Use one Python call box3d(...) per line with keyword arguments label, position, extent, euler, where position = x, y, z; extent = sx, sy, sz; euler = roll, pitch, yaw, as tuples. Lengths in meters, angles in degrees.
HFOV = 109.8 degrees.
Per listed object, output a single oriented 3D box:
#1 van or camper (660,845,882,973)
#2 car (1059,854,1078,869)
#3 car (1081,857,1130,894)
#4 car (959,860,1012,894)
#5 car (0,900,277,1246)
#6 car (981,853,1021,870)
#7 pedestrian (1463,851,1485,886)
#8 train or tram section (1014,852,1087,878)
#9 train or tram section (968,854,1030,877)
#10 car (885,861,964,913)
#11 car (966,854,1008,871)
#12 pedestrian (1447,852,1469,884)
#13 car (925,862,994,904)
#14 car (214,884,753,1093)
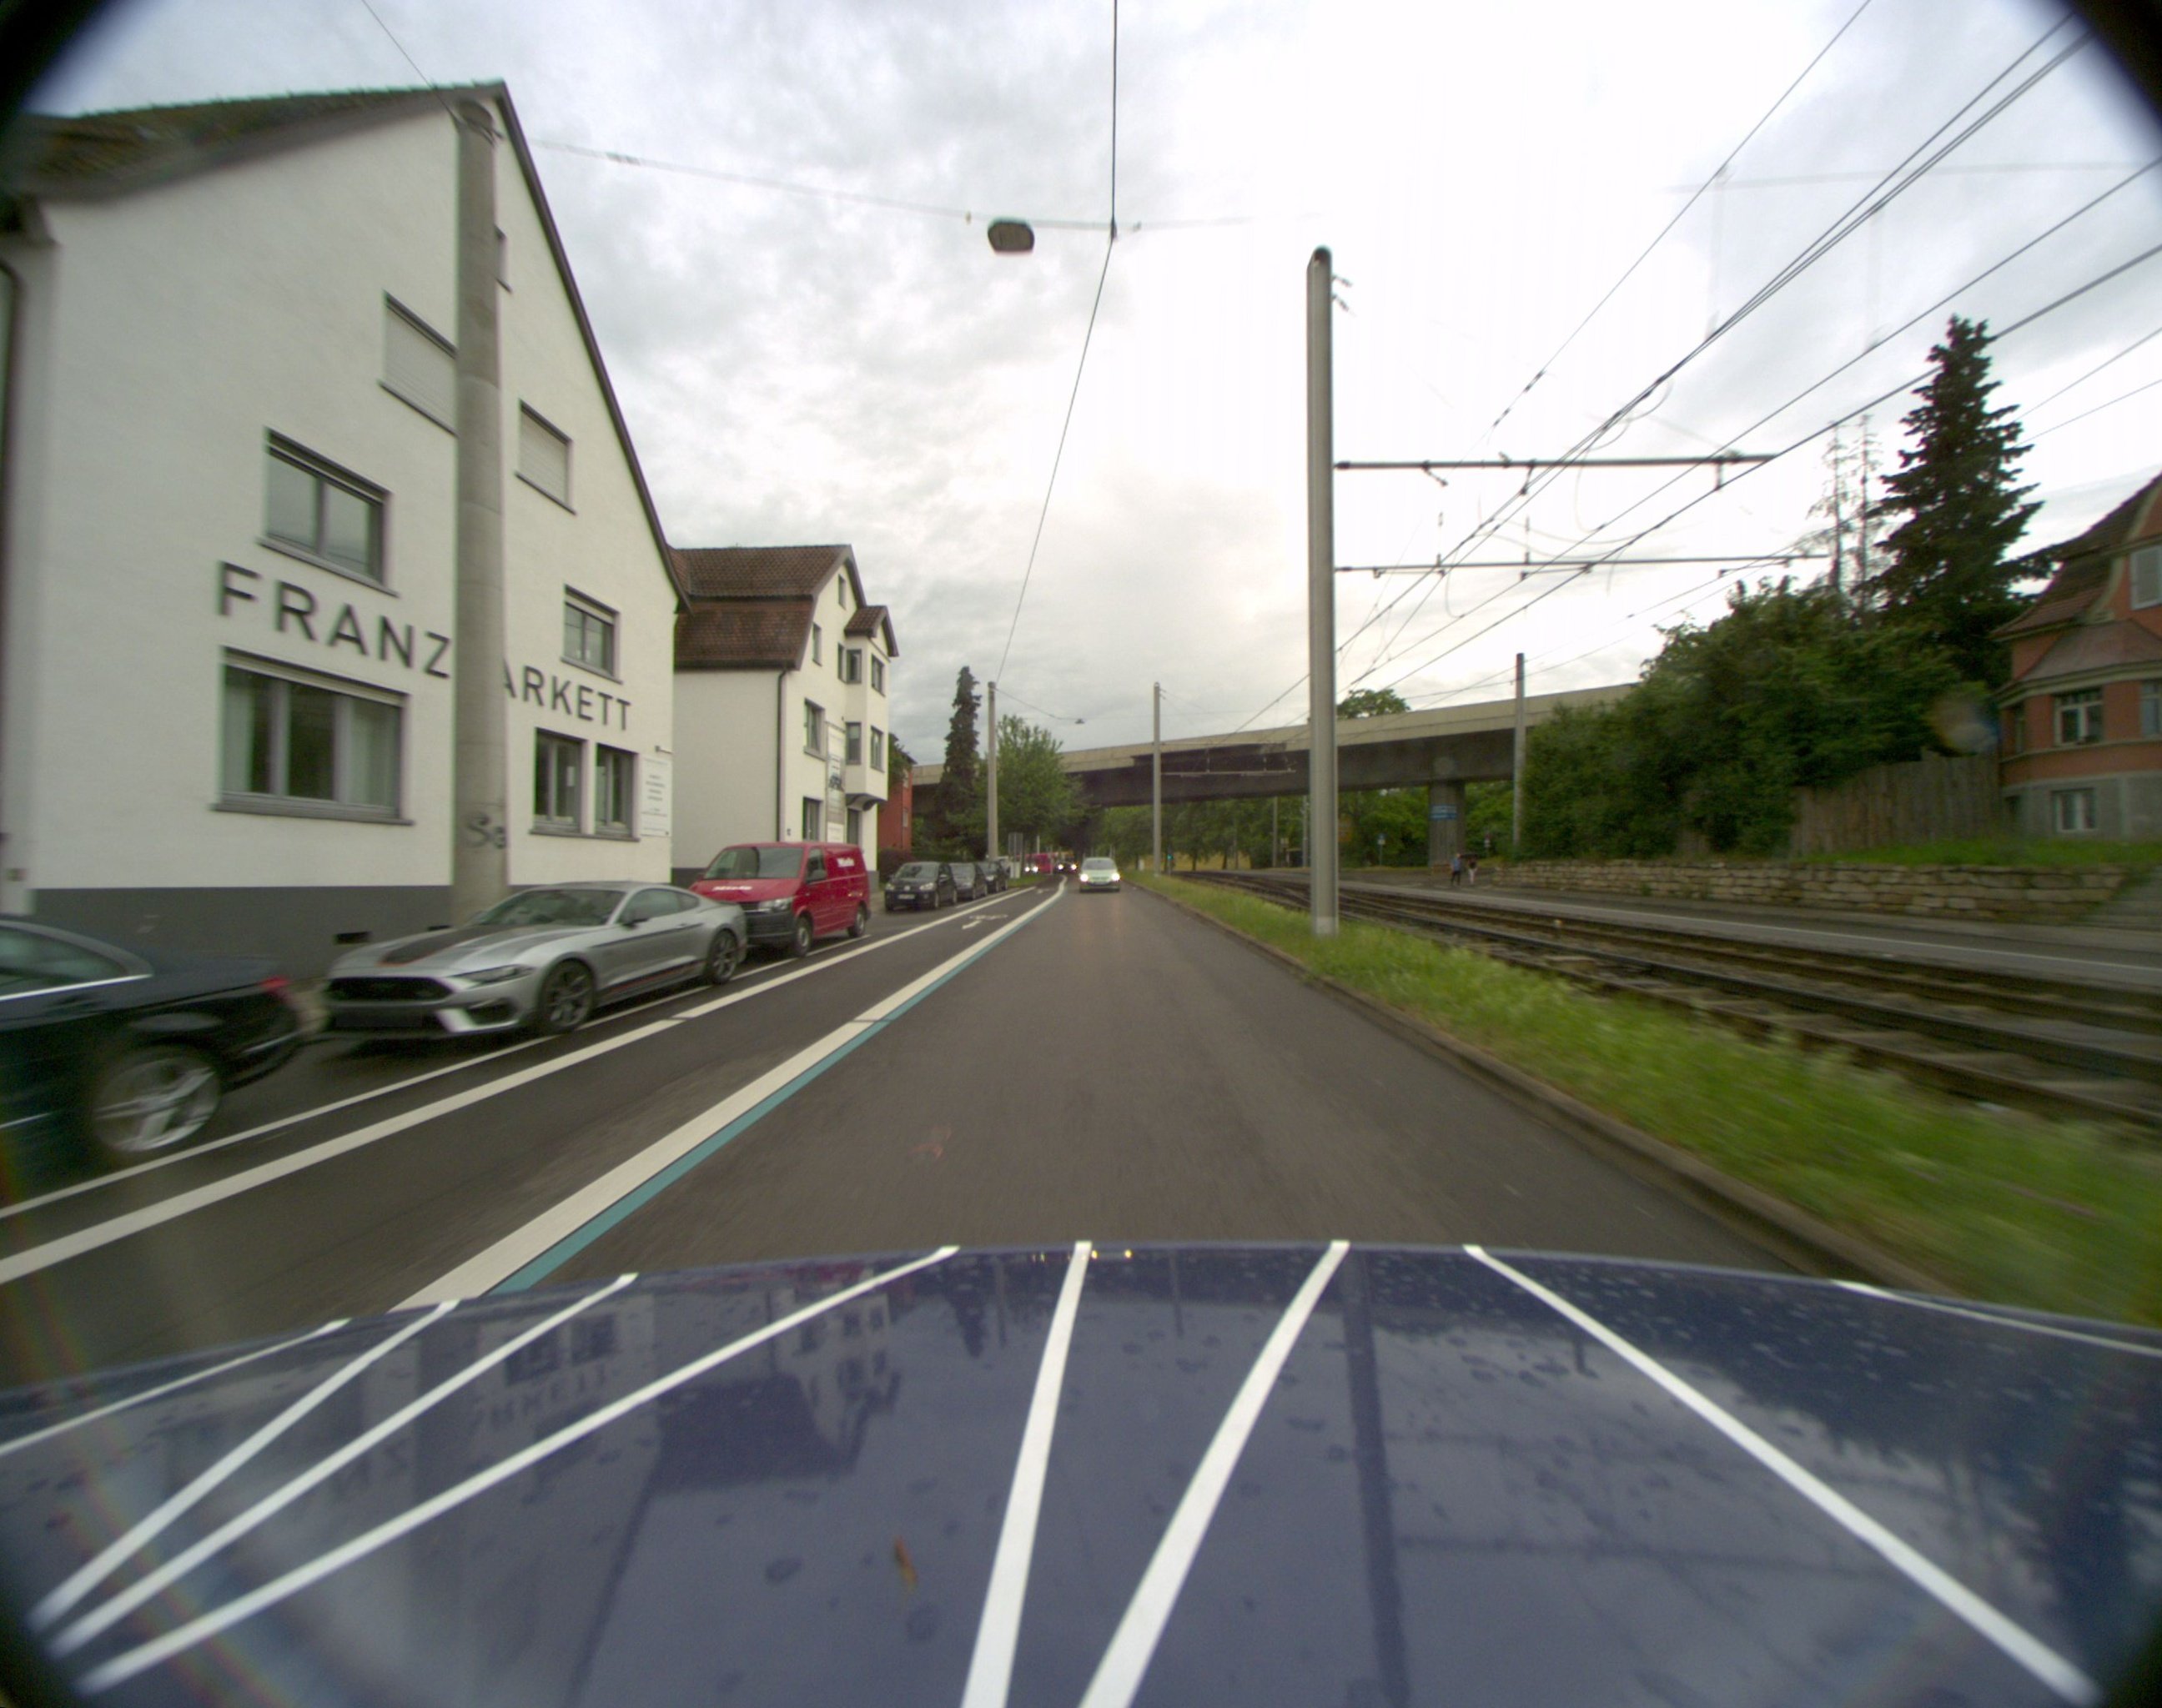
box3d(label="van or camper", position=(-5.300, 0.817, 13.880), extent=(1.855, 1.909, 4.995), euler=(0, 0, 2))
box3d(label="car", position=(-1.300, 0.744, 76.447), extent=(1.781, 1.493, 3.999), euler=(0, 0, -2))
box3d(label="car", position=(1.017, 0.935, 33.461), extent=(1.781, 1.492, 4.000), euler=(1, -1, -3))
box3d(label="car", position=(-4.369, 1.020, 35.382), extent=(1.681, 1.414, 4.566), euler=(-1, 0, 3))
box3d(label="car", position=(-5.863, 1.082, 2.636), extent=(1.638, 1.529, 4.135), euler=(-2, 0, 1))
box3d(label="car", position=(-7.431, 0.666, 70.989), extent=(1.798, 1.513, 3.743), euler=(-1, -1, 30))
box3d(label="pedestrian", position=(20.591, 0.745, 39.831), extent=(0.695, 1.820, 0.867), euler=(-1, -1, 1))
box3d(label="train or tram section", position=(-5.286, 1.807, 124.092), extent=(2.882, 3.937, 19.286), euler=(-2, 0, -31))
box3d(label="train or tram section", position=(-15.433, 2.162, 140.478), extent=(2.882, 3.947, 19.283), euler=(-2, 0, -33))
box3d(label="car", position=(-5.020, 1.019, 24.821), extent=(1.581, 1.443, 3.720), euler=(0, 1, 4))
box3d(label="car", position=(-9.014, 0.816, 72.989), extent=(1.962, 1.621, 4.032), euler=(-1, -1, 30))
box3d(label="pedestrian", position=(19.634, 0.724, 39.620), extent=(0.695, 1.660, 0.888), euler=(-1, -1, 4))
box3d(label="car", position=(-4.609, 1.067, 29.526), extent=(1.716, 1.404, 4.566), euler=(-1, 0, 3))
box3d(label="car", position=(-5.529, 1.108, 8.058), extent=(1.800, 1.368, 4.671), euler=(-1, 0, 4))
